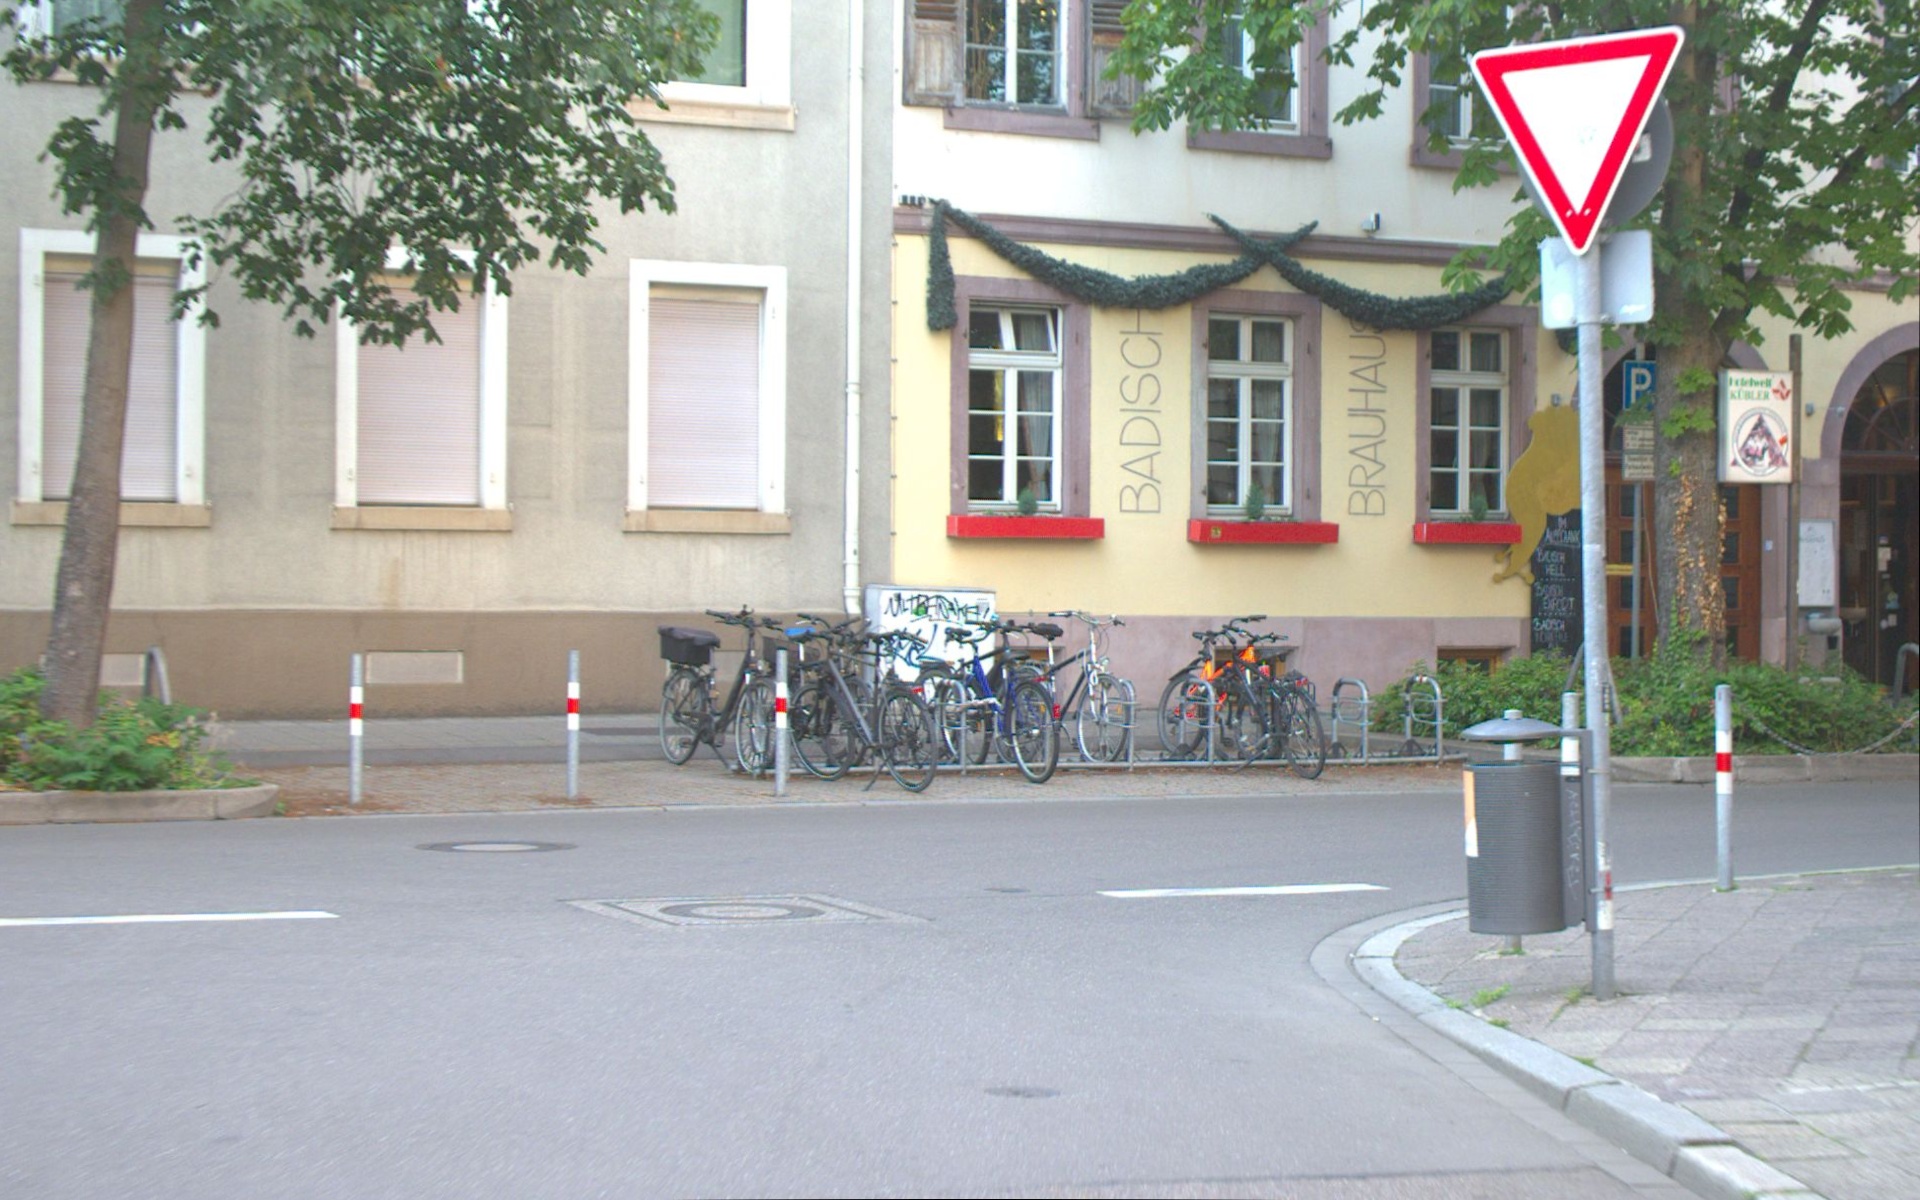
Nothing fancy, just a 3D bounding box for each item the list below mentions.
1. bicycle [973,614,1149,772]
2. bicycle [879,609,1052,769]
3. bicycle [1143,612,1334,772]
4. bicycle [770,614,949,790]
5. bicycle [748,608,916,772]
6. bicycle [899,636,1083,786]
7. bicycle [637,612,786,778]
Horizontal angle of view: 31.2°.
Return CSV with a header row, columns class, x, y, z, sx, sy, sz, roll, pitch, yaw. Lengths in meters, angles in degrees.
class,x,y,z,sx,sy,sz,roll,pitch,yaw
bicycle,0.753,0.693,26.447,0.420,1.142,2.042,0,0,-27
bicycle,0.022,0.654,26.159,0.420,1.142,2.042,0,0,-27
bicycle,2.083,0.671,25.984,0.420,1.142,2.042,0,0,-27
bicycle,-0.719,0.684,23.854,0.445,1.142,2.043,0,0,-26
bicycle,-0.970,0.645,25.481,0.420,1.142,2.042,0,0,-27
bicycle,0.198,0.776,24.713,0.420,1.000,2.042,0,0,-27
bicycle,-1.826,0.667,25.050,0.445,1.142,2.043,0,0,-23
